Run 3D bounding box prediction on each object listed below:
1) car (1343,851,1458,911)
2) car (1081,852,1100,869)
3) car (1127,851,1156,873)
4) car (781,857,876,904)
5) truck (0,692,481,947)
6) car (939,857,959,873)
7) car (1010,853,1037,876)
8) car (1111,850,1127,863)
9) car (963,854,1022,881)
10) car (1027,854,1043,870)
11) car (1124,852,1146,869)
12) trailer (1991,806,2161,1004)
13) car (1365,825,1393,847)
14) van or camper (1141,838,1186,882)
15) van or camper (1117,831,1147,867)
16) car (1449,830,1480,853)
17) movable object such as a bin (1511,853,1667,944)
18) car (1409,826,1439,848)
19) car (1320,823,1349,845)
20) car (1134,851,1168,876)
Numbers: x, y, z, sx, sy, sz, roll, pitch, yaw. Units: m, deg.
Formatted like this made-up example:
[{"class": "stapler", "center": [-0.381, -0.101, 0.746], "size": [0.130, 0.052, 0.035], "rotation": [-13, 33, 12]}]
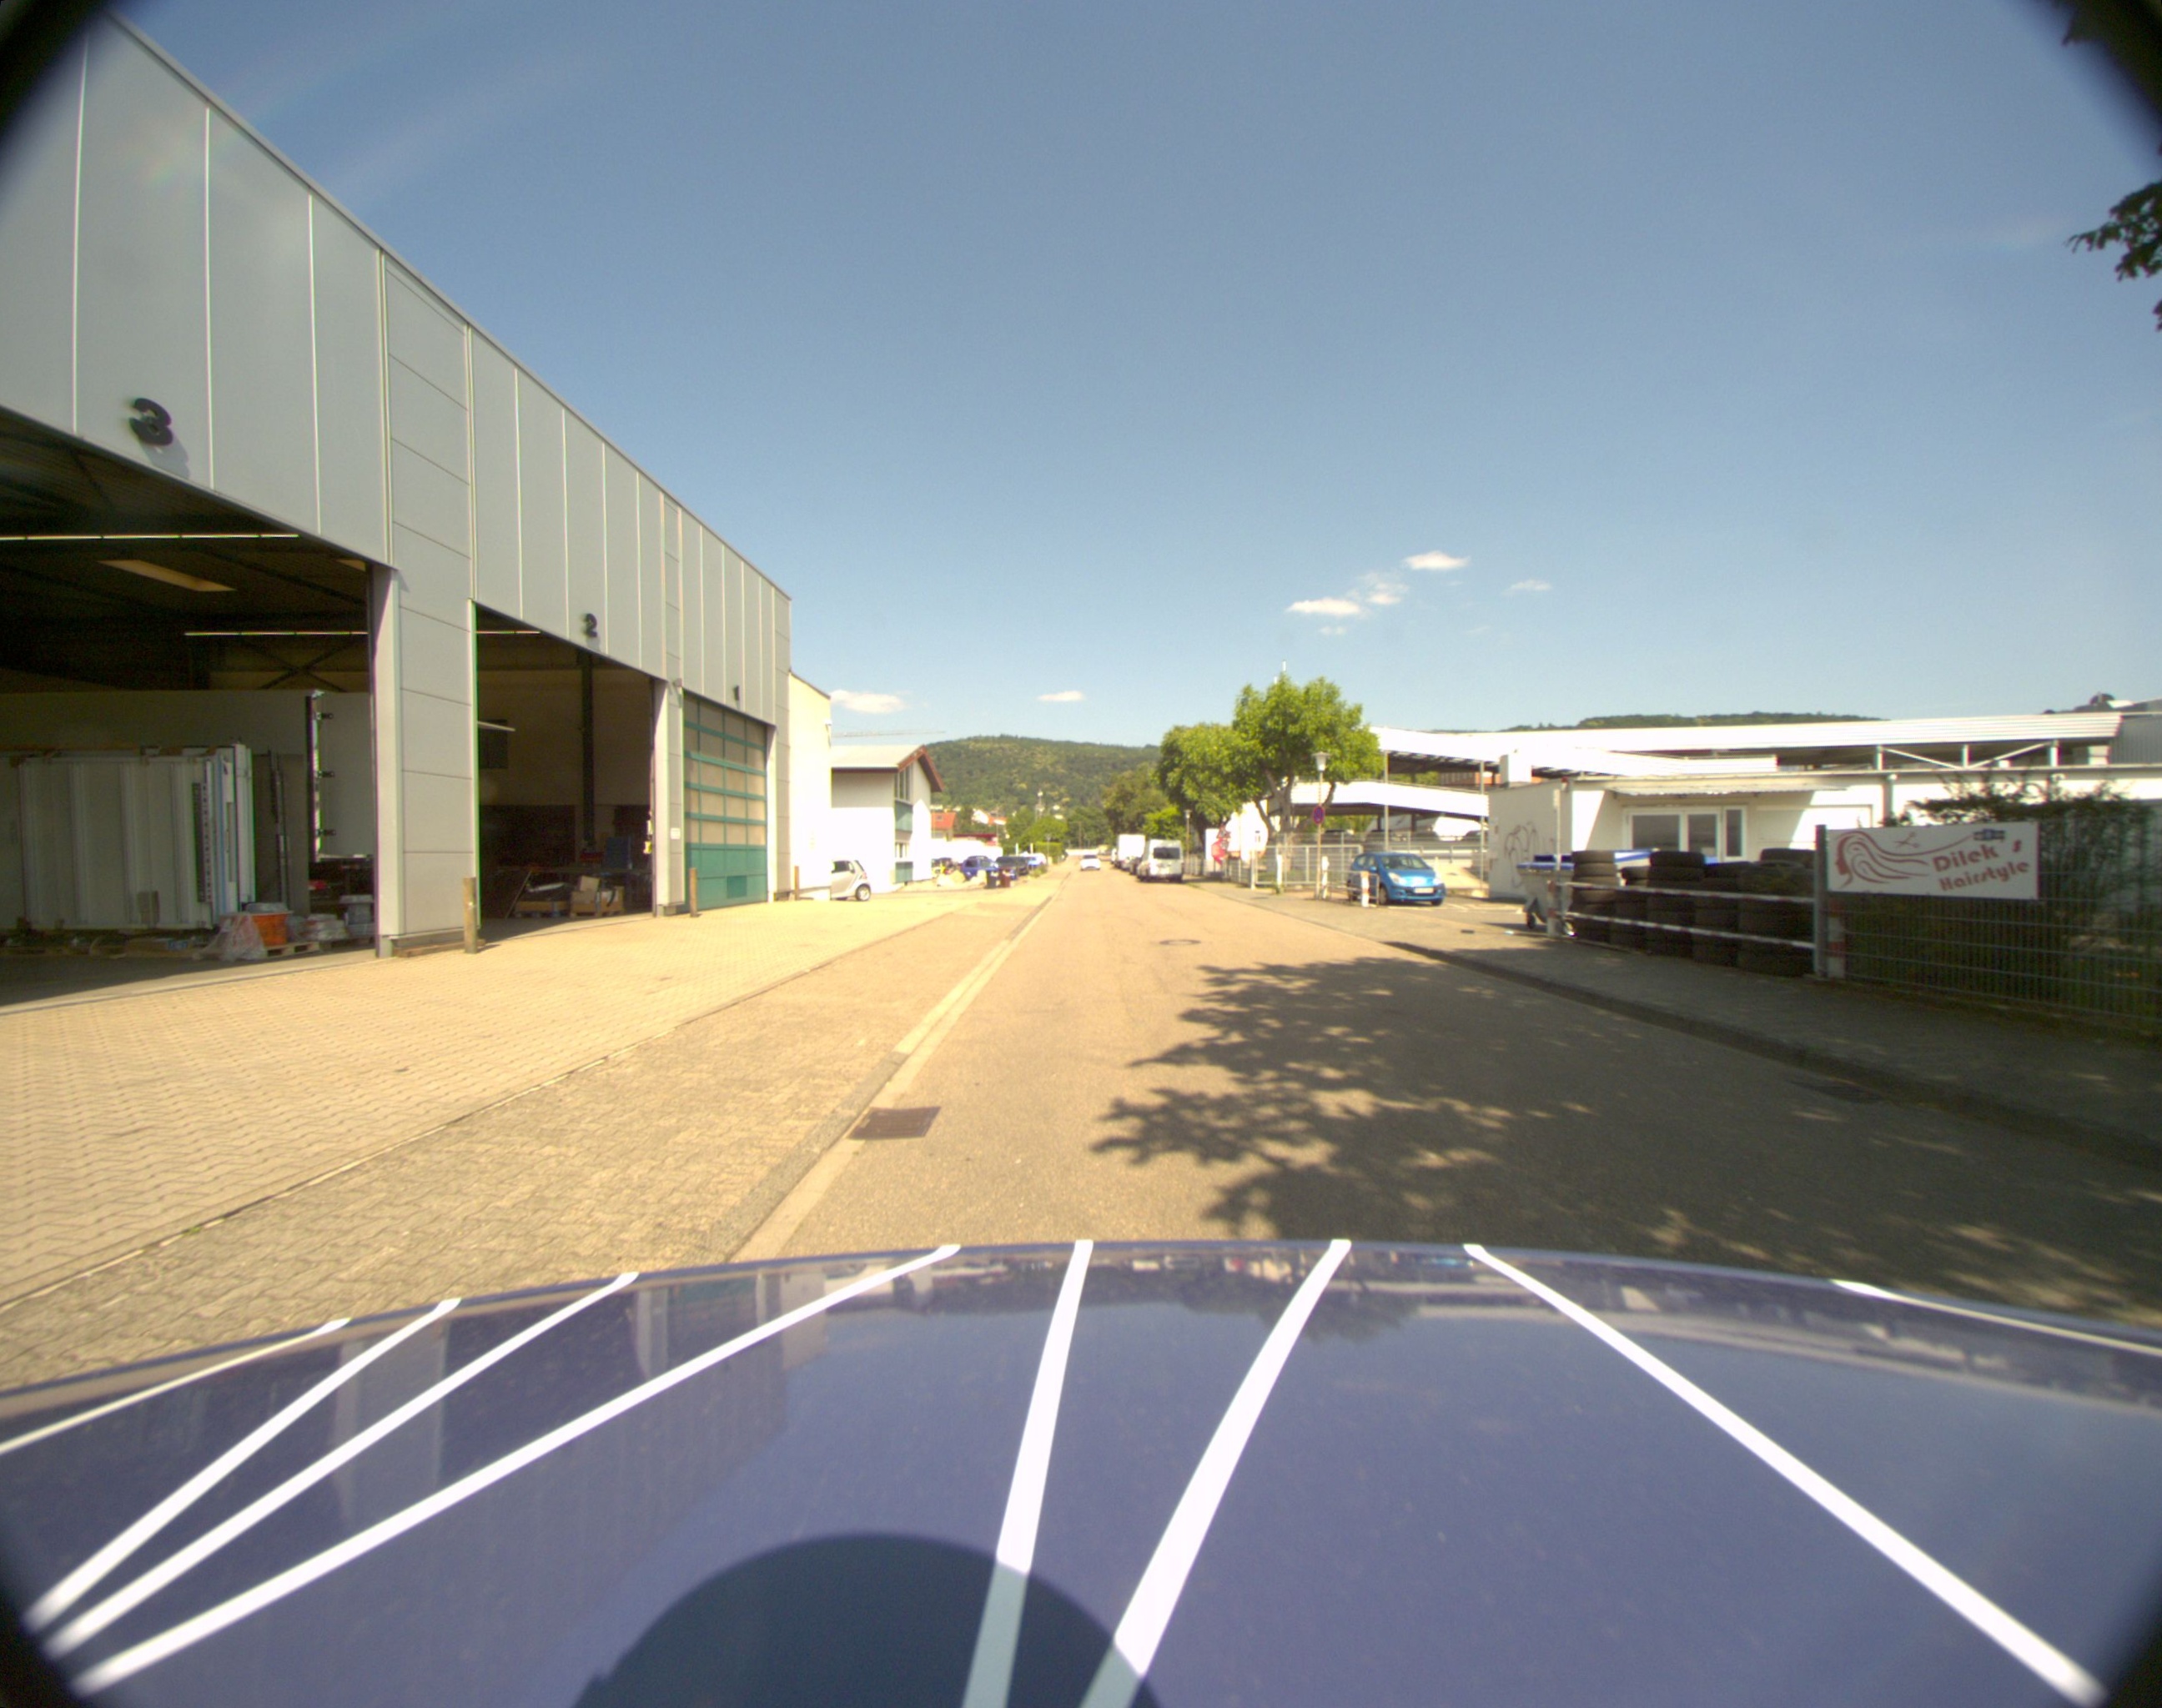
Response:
[{"class": "car", "center": [8.854, 0.684, 21.364], "size": [1.645, 1.449, 3.524], "rotation": [-3, 1, -1]}, {"class": "car", "center": [0.869, 0.595, 71.995], "size": [1.736, 1.521, 4.109], "rotation": [0, 0, 1]}, {"class": "car", "center": [4.530, 0.575, 56.890], "size": [1.708, 1.449, 3.524], "rotation": [-3, 1, -2]}, {"class": "car", "center": [-8.804, 0.895, 26.573], "size": [1.309, 1.525, 2.829], "rotation": [-2, -1, 44]}, {"class": "truck", "center": [-14.907, -0.518, 12.596], "size": [7.854, 3.760, 2.624], "rotation": [0, 1, 1]}, {"class": "car", "center": [-12.692, 1.070, 73.246], "size": [1.452, 1.371, 3.185], "rotation": [-3, 1, -3]}, {"class": "car", "center": [-4.054, 0.717, 53.209], "size": [1.453, 1.487, 3.183], "rotation": [-3, 1, -10]}, {"class": "car", "center": [4.916, 0.336, 97.681], "size": [1.708, 1.564, 3.524], "rotation": [-3, 1, -2]}, {"class": "car", "center": [-4.875, 0.727, 42.069], "size": [2.975, 1.332, 1.453], "rotation": [-3, 1, 1]}, {"class": "car", "center": [-4.393, 0.726, 73.127], "size": [1.452, 1.371, 3.185], "rotation": [-3, 1, -3]}, {"class": "car", "center": [4.814, 0.577, 67.864], "size": [1.708, 1.449, 3.525], "rotation": [0, 0, 0]}, {"class": "trailer", "center": [14.240, 0.462, 8.861], "size": [4.781, 2.143, 2.000], "rotation": [-3, 1, 1]}, {"class": "car", "center": [20.982, -1.278, 53.512], "size": [1.705, 1.449, 3.530], "rotation": [-2, 1, 22]}, {"class": "van or camper", "center": [4.614, 0.274, 43.356], "size": [2.028, 2.363, 4.684], "rotation": [1, 1, 0]}, {"class": "van or camper", "center": [4.936, -0.461, 73.750], "size": [2.525, 3.350, 5.591], "rotation": [0, 0, 0]}, {"class": "car", "center": [26.363, -0.866, 52.148], "size": [1.705, 1.450, 3.531], "rotation": [-2, 1, 29]}, {"class": "movable object such as a bin", "center": [8.654, 0.710, 13.107], "size": [1.383, 1.350, 2.104], "rotation": [-2, 1, 6]}, {"class": "car", "center": [23.903, -1.203, 53.056], "size": [1.705, 1.449, 3.530], "rotation": [-2, 1, 22]}, {"class": "car", "center": [18.008, -1.384, 53.935], "size": [1.705, 1.449, 3.531], "rotation": [0, 0, 22]}, {"class": "car", "center": [4.594, 0.612, 50.217], "size": [1.708, 1.449, 3.524], "rotation": [-3, 1, -2]}]
